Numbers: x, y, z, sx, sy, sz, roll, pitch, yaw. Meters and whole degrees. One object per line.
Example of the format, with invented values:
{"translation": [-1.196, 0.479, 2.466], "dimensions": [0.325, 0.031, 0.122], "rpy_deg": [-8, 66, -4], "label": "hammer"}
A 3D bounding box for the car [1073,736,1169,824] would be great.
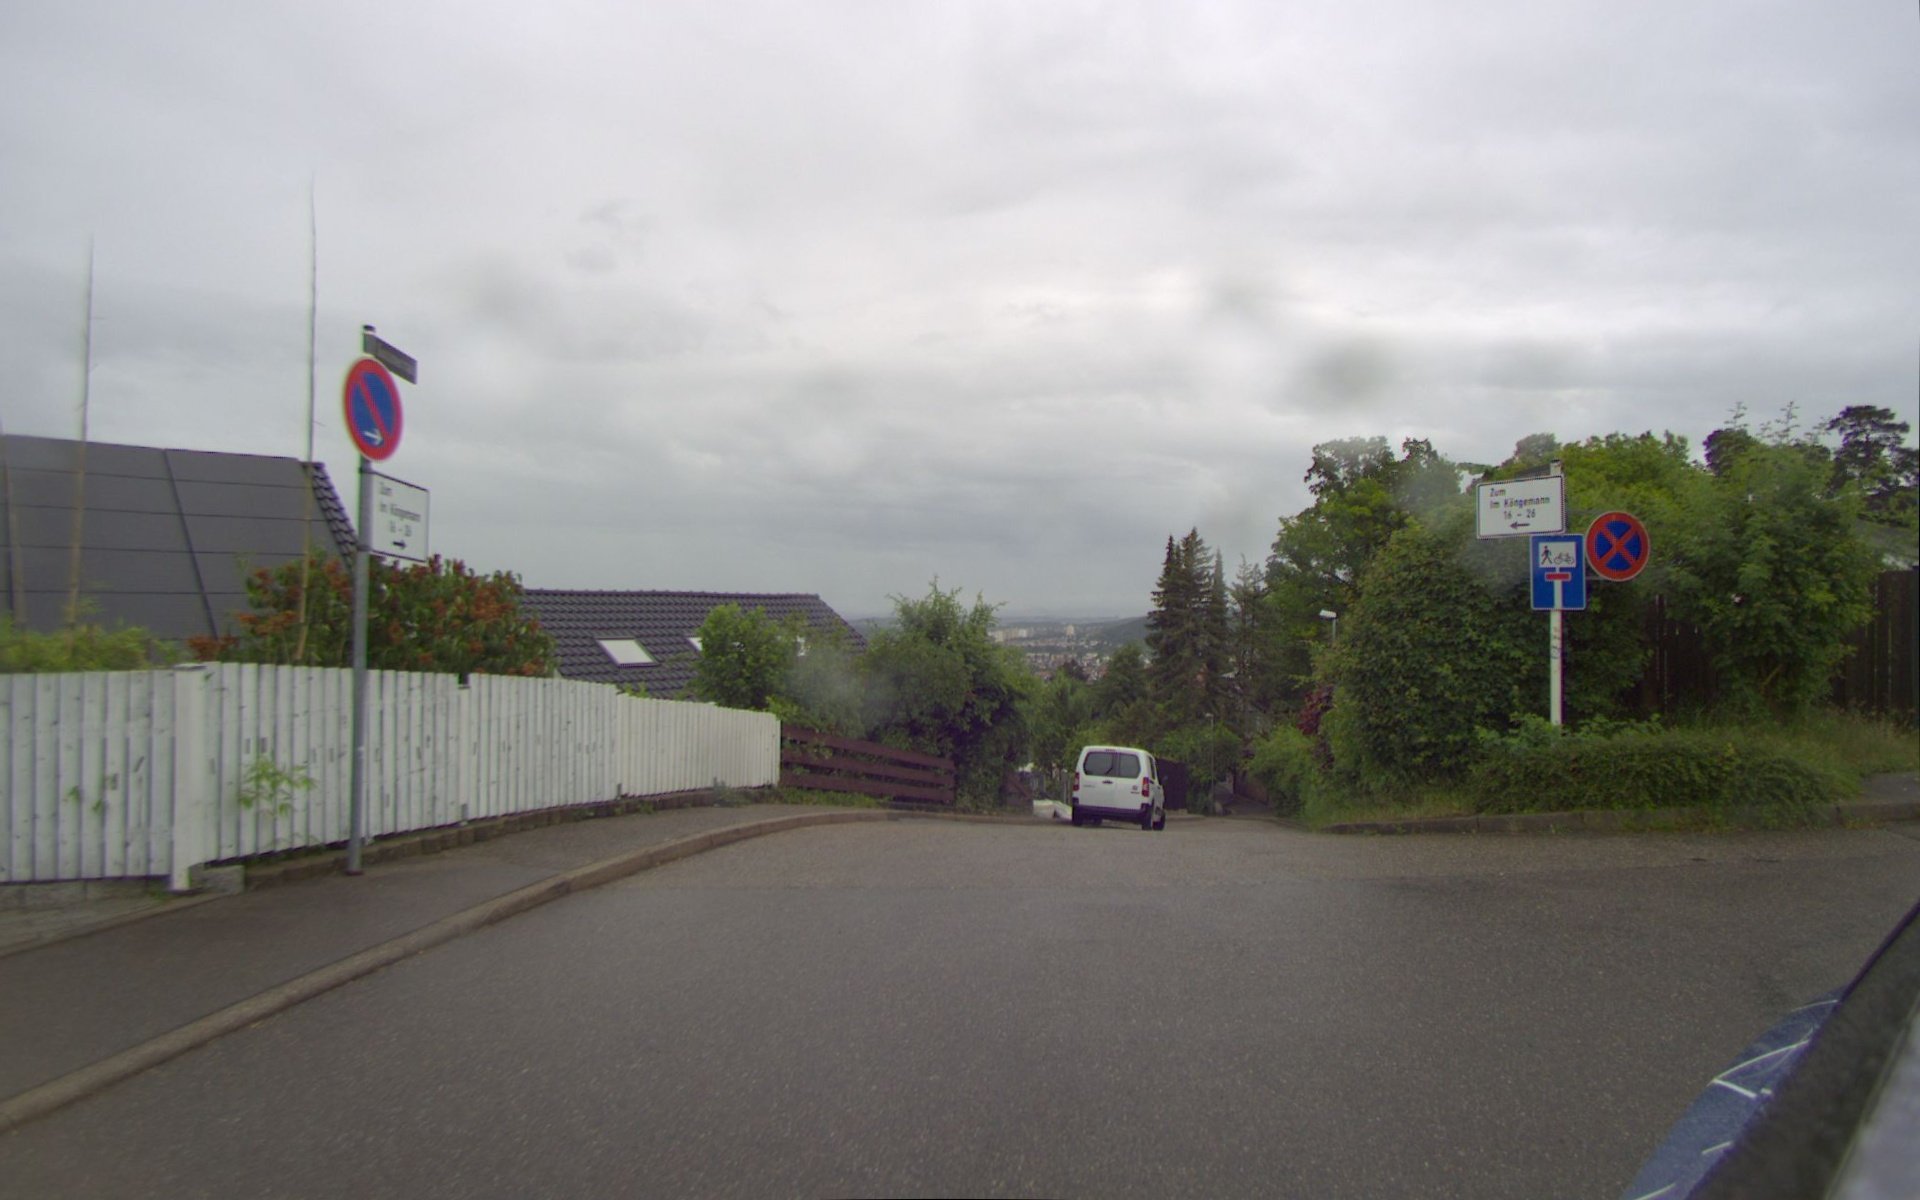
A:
{"translation": [3.837, 4.245, 23.531], "dimensions": [1.730, 1.766, 3.975], "rpy_deg": [0, -12, 16], "label": "car"}
